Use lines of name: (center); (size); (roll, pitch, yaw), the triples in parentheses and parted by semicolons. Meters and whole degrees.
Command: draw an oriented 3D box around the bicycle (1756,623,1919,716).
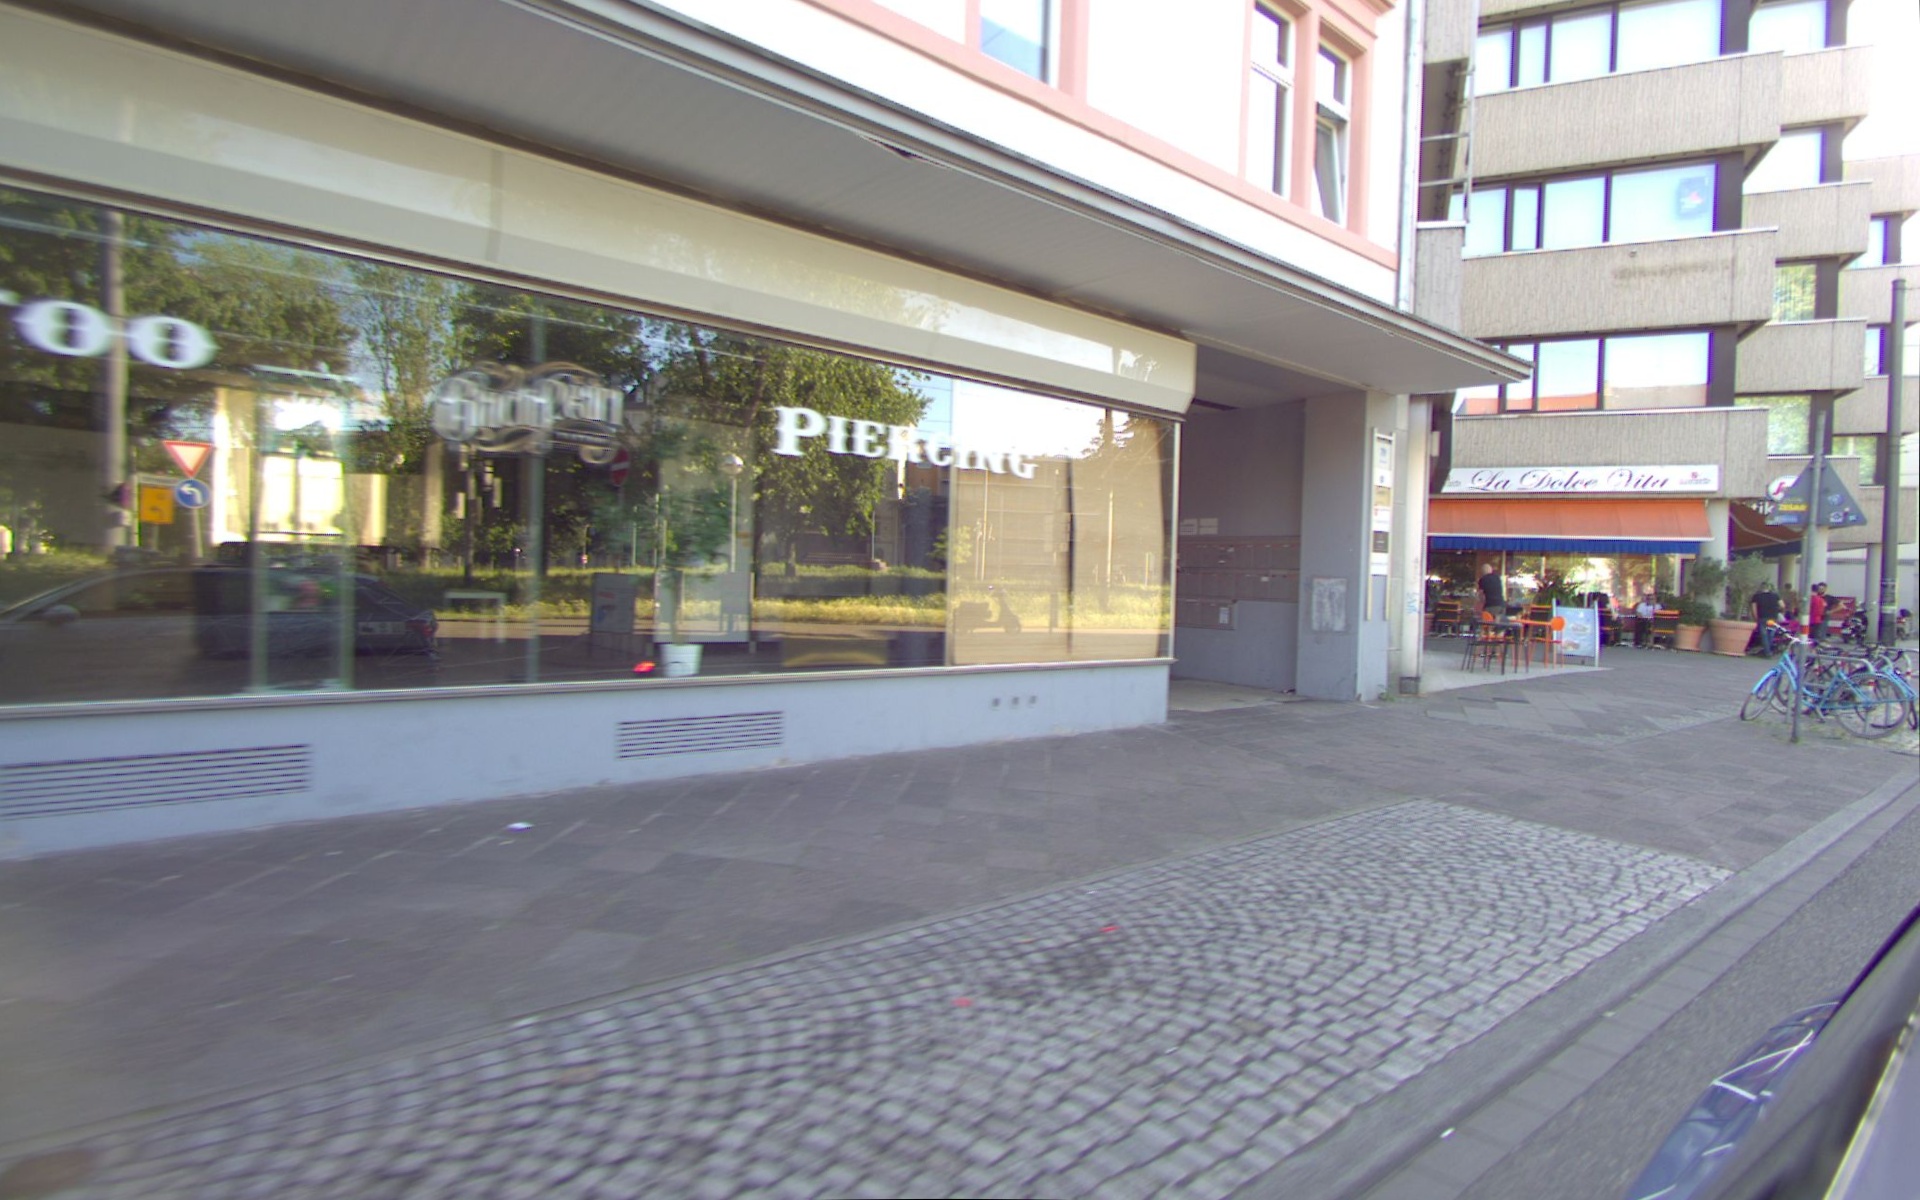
bicycle: (10.961, 0.822, 12.556); (0.419, 1.016, 1.712); (-1, 1, -24)

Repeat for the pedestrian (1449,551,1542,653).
pedestrian: (9.582, 0.023, 18.119); (1.113, 1.764, 1.024); (-1, 1, -26)

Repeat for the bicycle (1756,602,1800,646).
bicycle: (20.738, 0.581, 25.647); (1.615, 1.047, 0.564); (-1, 1, -40)

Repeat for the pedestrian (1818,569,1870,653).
pedestrian: (20.252, 0.236, 23.186); (0.599, 1.878, 0.673); (-1, 4, -36)

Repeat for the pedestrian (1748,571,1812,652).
pedestrian: (18.287, 0.234, 22.579); (0.834, 1.731, 0.714); (3, 2, 22)

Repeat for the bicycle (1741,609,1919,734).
bicycle: (9.946, 0.754, 11.473); (0.645, 1.258, 1.630); (-1, 1, -20)

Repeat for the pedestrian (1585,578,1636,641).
pedestrian: (15.061, 0.209, 23.443); (0.833, 1.420, 0.748); (0, -1, 21)

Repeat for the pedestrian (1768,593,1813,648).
pedestrian: (19.575, 0.472, 23.860); (0.613, 1.251, 0.632); (-1, 4, -36)

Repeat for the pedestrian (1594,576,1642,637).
pedestrian: (15.703, 0.144, 24.174); (0.835, 1.420, 0.824); (1, 0, 25)

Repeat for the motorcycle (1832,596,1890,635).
motorcycle: (29.174, 0.485, 32.770); (2.007, 1.168, 0.767); (-1, 4, -30)

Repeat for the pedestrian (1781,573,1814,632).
pedestrian: (26.204, 0.074, 31.671); (0.701, 1.838, 0.708); (0, 1, 34)

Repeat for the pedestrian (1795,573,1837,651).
pedestrian: (19.416, 0.259, 22.948); (0.685, 1.736, 0.585); (-1, 1, -37)

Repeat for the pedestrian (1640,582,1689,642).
pedestrian: (16.443, 0.261, 23.617); (0.840, 1.308, 0.820); (4, 3, 38)

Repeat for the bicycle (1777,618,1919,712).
bicycle: (11.309, 0.787, 12.698); (0.336, 1.075, 1.688); (-1, 1, -24)
